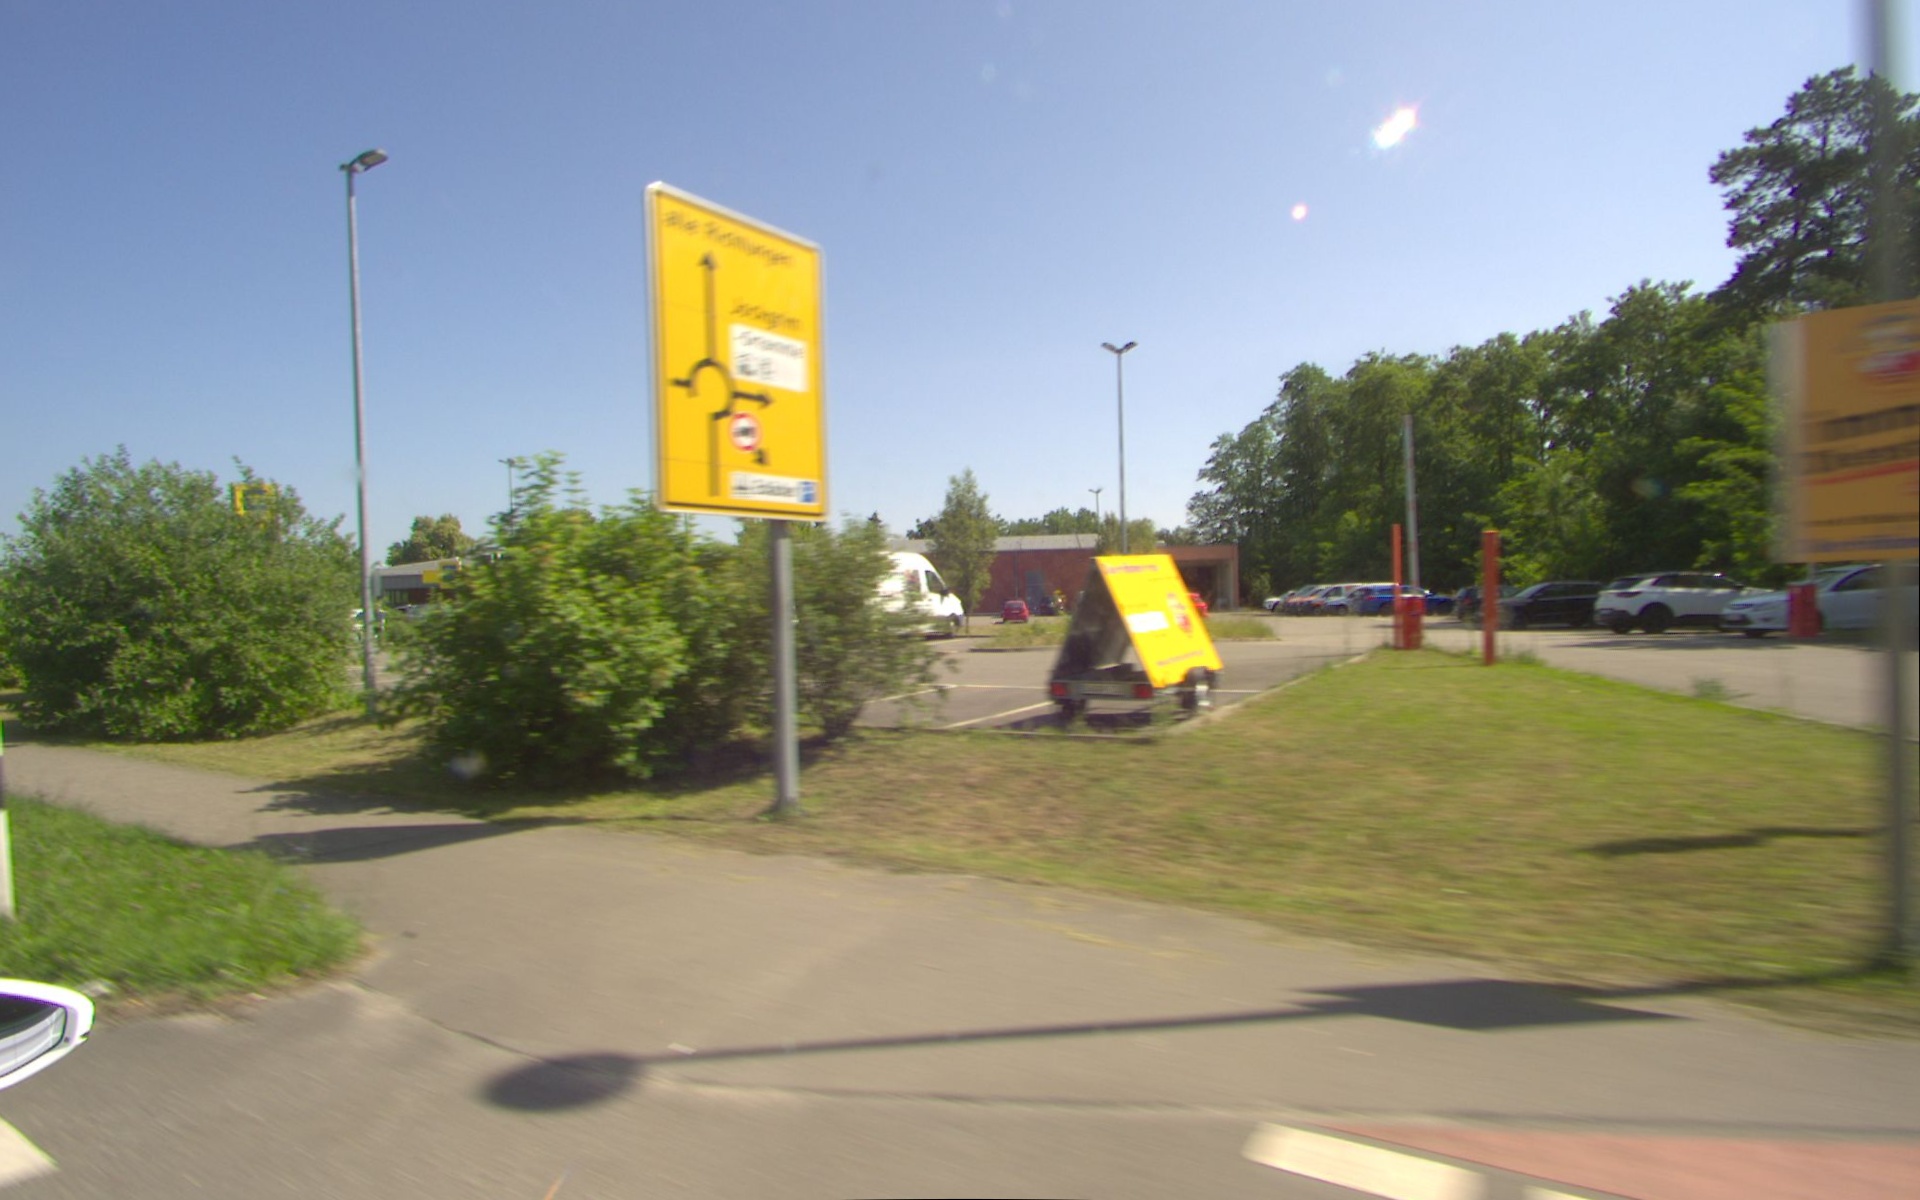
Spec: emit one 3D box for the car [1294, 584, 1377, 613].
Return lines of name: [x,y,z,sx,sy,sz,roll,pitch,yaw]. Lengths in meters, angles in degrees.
car: [21.826,-0.096,58.265,4.178,1.617,1.795,-1,1,6]

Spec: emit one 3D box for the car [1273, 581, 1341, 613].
car: [22.984,-0.178,66.507,3.923,2.000,1.942,-1,1,7]

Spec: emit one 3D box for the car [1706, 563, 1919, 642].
car: [18.625,0.035,21.168,4.289,1.551,1.759,-1,1,6]

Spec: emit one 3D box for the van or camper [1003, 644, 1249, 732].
van or camper: [2.064,0.961,11.862,1.790,0.622,3.083,0,2,34]

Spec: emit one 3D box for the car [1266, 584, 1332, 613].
car: [23.216,-0.108,68.699,3.923,1.890,1.942,-1,1,7]

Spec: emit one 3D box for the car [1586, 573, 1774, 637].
car: [18.771,0.129,26.231,3.594,1.551,1.759,-1,1,6]

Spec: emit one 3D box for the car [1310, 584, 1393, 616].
car: [21.835,-0.002,56.026,3.923,1.734,2.070,-1,1,7]

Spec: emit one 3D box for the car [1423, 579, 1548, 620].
car: [20.952,-0.017,40.061,3.923,1.506,2.070,-1,1,7]

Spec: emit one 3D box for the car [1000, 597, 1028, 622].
car: [3.622,0.600,66.778,1.766,1.539,3.999,-1,1,5]

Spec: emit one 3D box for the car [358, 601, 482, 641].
car: [-22.334,0.836,41.574,1.970,1.595,4.147,0,0,30]

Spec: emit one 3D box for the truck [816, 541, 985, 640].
truck: [-1.625,-0.280,29.780,2.171,2.640,5.586,-1,1,32]

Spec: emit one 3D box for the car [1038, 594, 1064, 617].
car: [7.034,0.410,77.089,1.748,1.662,3.771,-1,0,8]

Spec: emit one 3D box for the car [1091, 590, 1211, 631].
car: [7.465,0.388,39.547,4.407,1.485,1.999,-1,1,3]

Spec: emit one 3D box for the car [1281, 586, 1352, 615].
car: [22.611,0.052,63.644,3.923,1.734,1.942,-1,1,7]

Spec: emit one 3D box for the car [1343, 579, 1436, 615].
car: [21.846,-0.164,51.036,3.923,1.734,2.070,-1,1,7]

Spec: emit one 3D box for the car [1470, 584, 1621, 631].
car: [19.904,0.254,34.193,3.923,1.506,2.070,-1,1,7]

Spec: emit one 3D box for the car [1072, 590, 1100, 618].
car: [9.711,0.301,76.849,1.962,2.040,3.998,0,0,10]

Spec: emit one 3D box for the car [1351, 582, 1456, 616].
car: [21.162,-0.040,47.928,4.289,1.506,1.662,-1,1,7]

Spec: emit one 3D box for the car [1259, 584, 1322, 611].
car: [23.581,-0.149,71.587,3.923,1.825,1.942,-1,1,7]
